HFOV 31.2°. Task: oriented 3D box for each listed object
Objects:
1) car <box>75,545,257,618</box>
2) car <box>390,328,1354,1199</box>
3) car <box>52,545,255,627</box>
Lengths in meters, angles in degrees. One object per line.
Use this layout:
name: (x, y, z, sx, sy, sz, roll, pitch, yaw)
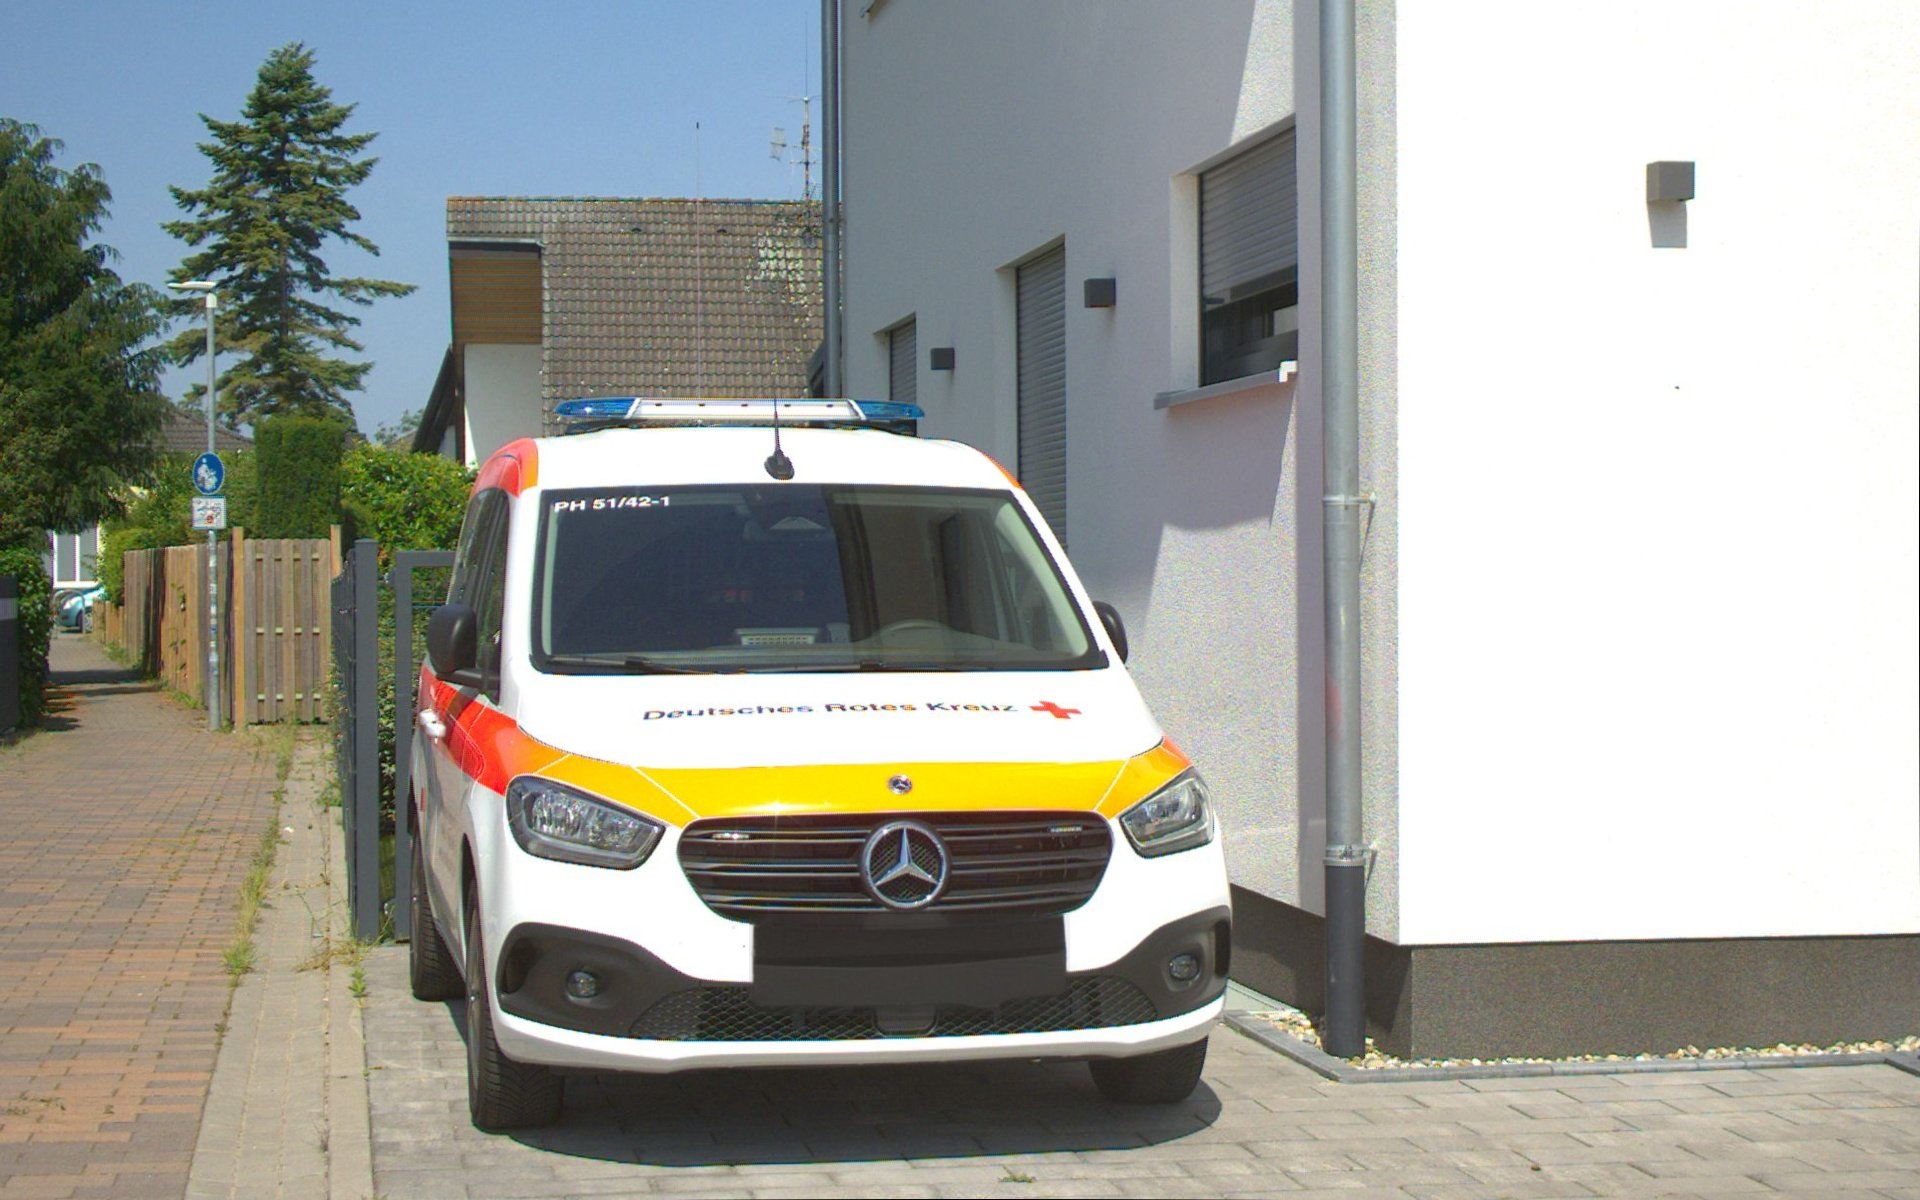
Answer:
car: (-18.791, -0.445, 81.542, 4.145, 1.711, 1.906, 0, 1, -11)
car: (-0.549, 0.346, 9.770, 1.931, 1.868, 4.753, 0, 0, -12)
car: (-17.091, -0.305, 73.013, 4.145, 1.711, 1.906, 0, 1, -11)
